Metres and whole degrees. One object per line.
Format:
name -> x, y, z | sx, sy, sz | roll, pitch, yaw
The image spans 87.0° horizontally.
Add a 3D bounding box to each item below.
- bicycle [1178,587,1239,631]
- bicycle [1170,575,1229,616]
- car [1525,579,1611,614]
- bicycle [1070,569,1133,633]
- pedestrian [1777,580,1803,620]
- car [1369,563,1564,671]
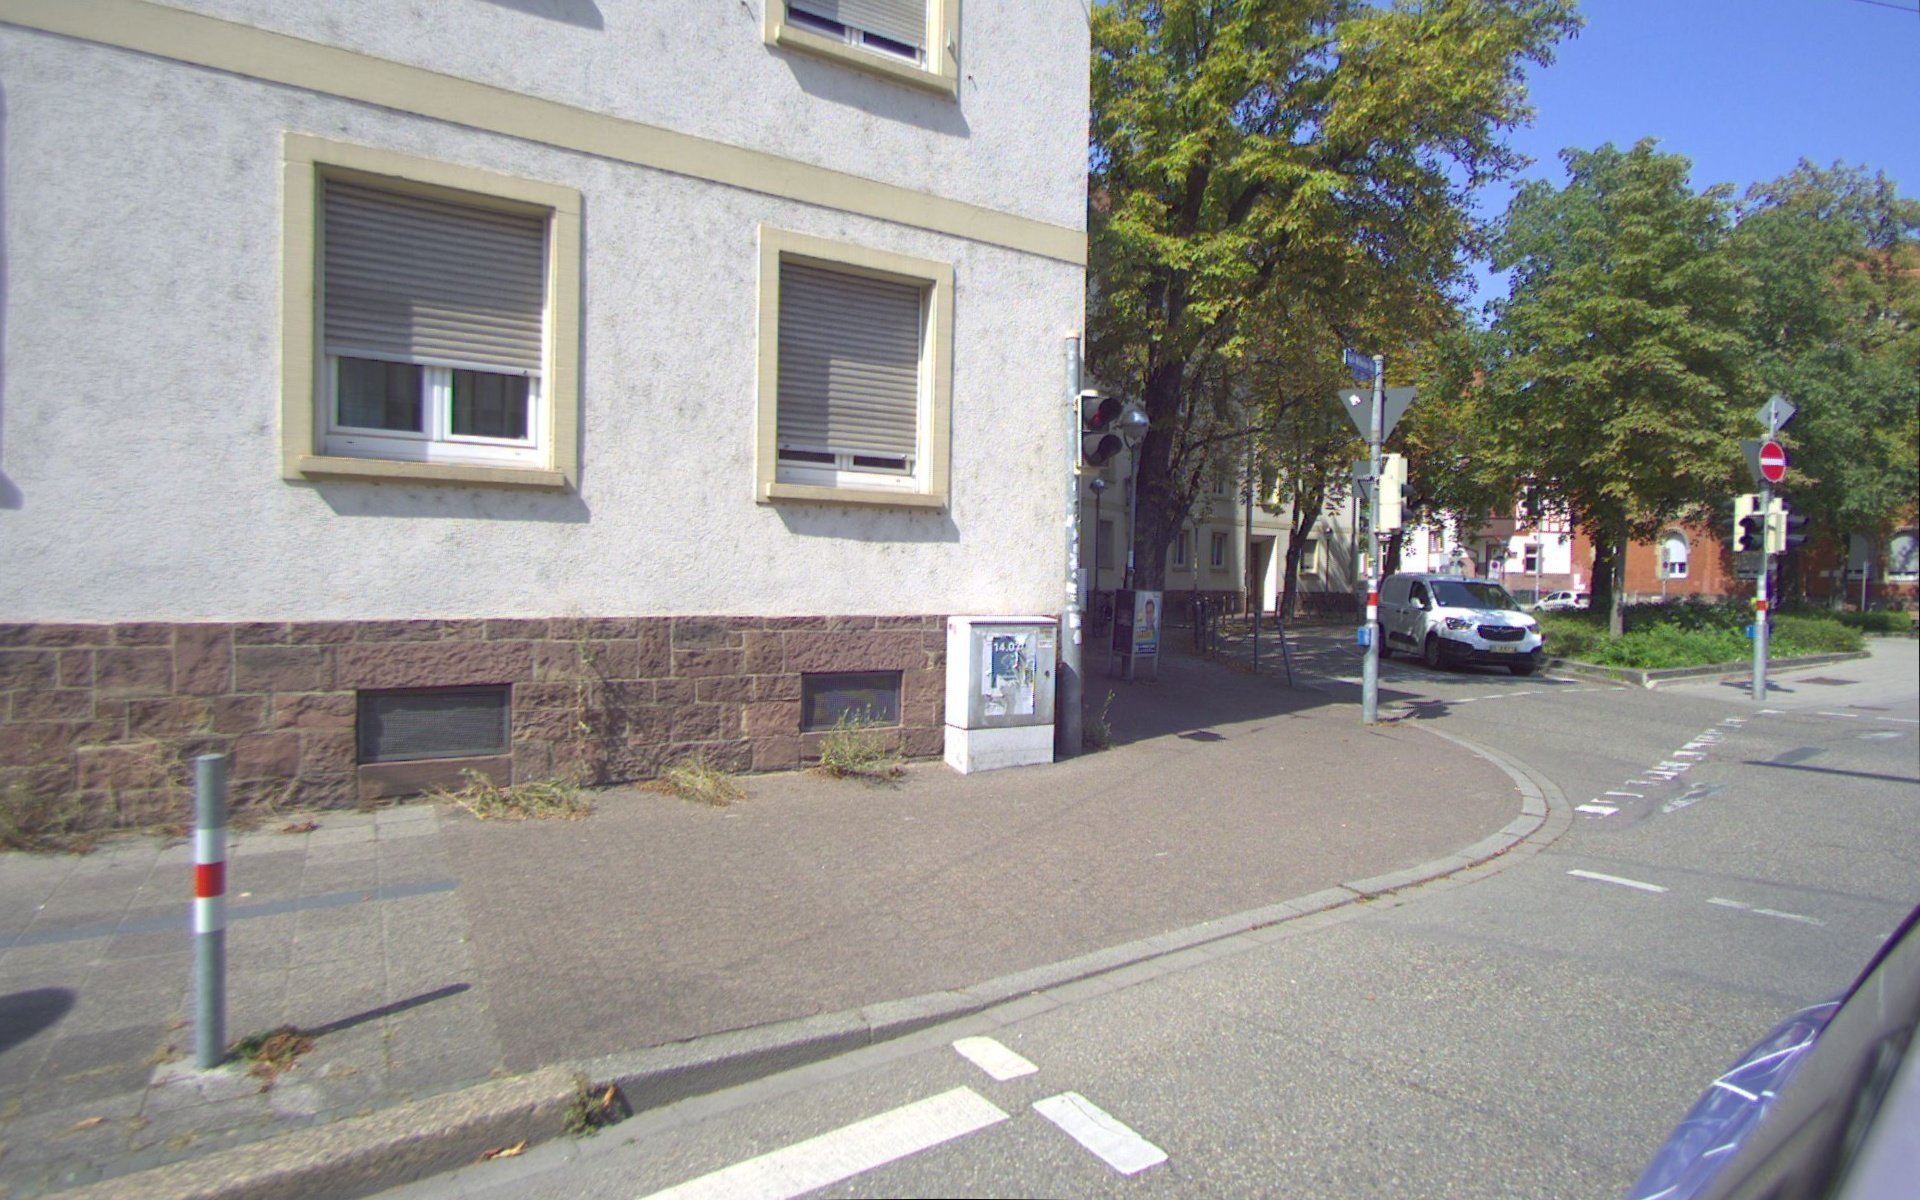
bicycle -> 6.967, 0.230, 28.317 | 0.806, 1.139, 2.239 | 5, 3, 36
bicycle -> 8.440, -0.167, 35.633 | 2.315, 1.427, 0.889 | -1, 0, -44
car -> 34.440, -0.219, 57.507 | 1.767, 1.834, 4.423 | 1, 1, -8
bicycle -> 3.565, 0.005, 25.238 | 1.010, 1.470, 2.673 | 2, 1, 20
pedestrian -> 40.430, 0.011, 49.295 | 0.667, 1.908, 0.917 | 1, 1, 19
car -> 9.699, 0.239, 19.811 | 1.772, 1.834, 4.413 | 1, 1, 3
